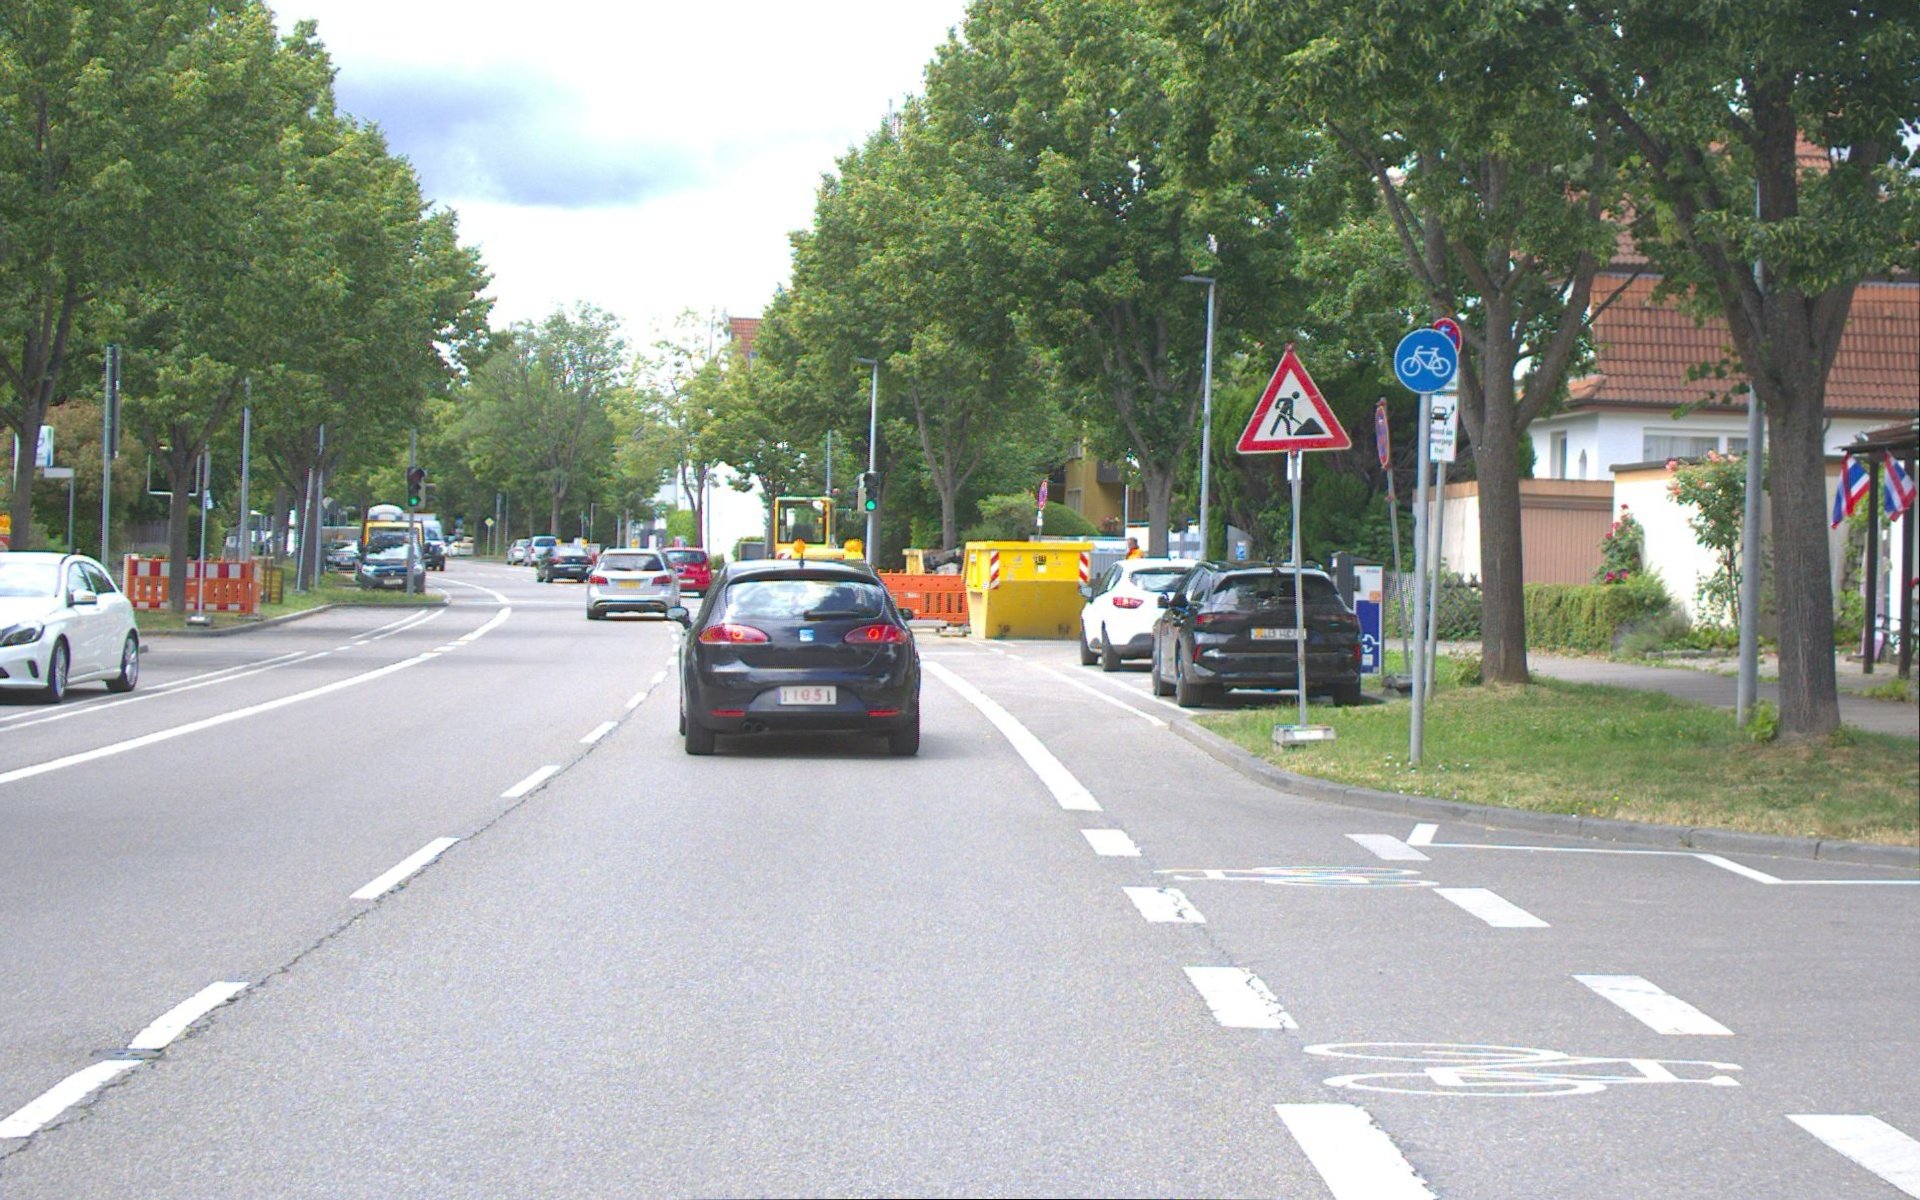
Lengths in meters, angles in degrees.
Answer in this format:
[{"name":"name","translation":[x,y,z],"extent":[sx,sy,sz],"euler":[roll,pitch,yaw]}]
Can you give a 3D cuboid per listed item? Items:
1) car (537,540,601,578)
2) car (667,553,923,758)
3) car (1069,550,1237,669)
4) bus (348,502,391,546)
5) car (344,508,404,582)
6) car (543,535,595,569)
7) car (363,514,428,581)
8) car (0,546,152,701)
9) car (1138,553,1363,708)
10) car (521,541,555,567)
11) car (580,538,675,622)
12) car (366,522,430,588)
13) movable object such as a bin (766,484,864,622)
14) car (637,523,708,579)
[{"name":"car","translation":[-14.870,-1.570,130.657],"extent":[1.809,1.370,3.694],"euler":[1,1,-16]},{"name":"car","translation":[-1.292,0.372,26.409],"extent":[1.818,1.433,3.740],"euler":[0,1,-3]},{"name":"car","translation":[2.470,0.091,44.838],"extent":[1.672,1.457,4.001],"euler":[1,1,-4]},{"name":"bus","translation":[-29.535,-3.800,171.849],"extent":[1.993,2.116,7.361],"euler":[1,1,-11]},{"name":"car","translation":[-21.415,-2.022,125.615],"extent":[2.092,2.617,5.046],"euler":[1,1,-9]},{"name":"car","translation":[-16.823,-2.073,147.918],"extent":[1.809,1.410,3.694],"euler":[1,1,-13]},{"name":"car","translation":[-19.022,-1.779,115.888],"extent":[2.092,2.167,5.046],"euler":[1,1,-9]},{"name":"car","translation":[-9.268,0.180,33.580],"extent":[1.714,1.401,4.300],"euler":[1,1,0]},{"name":"car","translation":[2.886,0.259,34.991],"extent":[1.705,1.449,4.617],"euler":[1,1,-2]},{"name":"car","translation":[-23.203,-2.530,189.006],"extent":[1.809,1.410,3.694],"euler":[1,1,-7]},{"name":"car","translation":[-6.871,-0.442,71.330],"extent":[1.905,1.680,3.740],"euler":[0,1,-5]},{"name":"car","translation":[-15.276,-1.246,93.586],"extent":[1.667,1.766,4.469],"euler":[0,1,-9]},{"name":"movable object such as a bin","translation":[-2.842,-0.923,66.724],"extent":[1.768,2.565,3.740],"euler":[1,1,-3]},{"name":"car","translation":[-8.472,-1.442,101.077],"extent":[1.790,1.617,3.741],"euler":[0,1,-9]}]
